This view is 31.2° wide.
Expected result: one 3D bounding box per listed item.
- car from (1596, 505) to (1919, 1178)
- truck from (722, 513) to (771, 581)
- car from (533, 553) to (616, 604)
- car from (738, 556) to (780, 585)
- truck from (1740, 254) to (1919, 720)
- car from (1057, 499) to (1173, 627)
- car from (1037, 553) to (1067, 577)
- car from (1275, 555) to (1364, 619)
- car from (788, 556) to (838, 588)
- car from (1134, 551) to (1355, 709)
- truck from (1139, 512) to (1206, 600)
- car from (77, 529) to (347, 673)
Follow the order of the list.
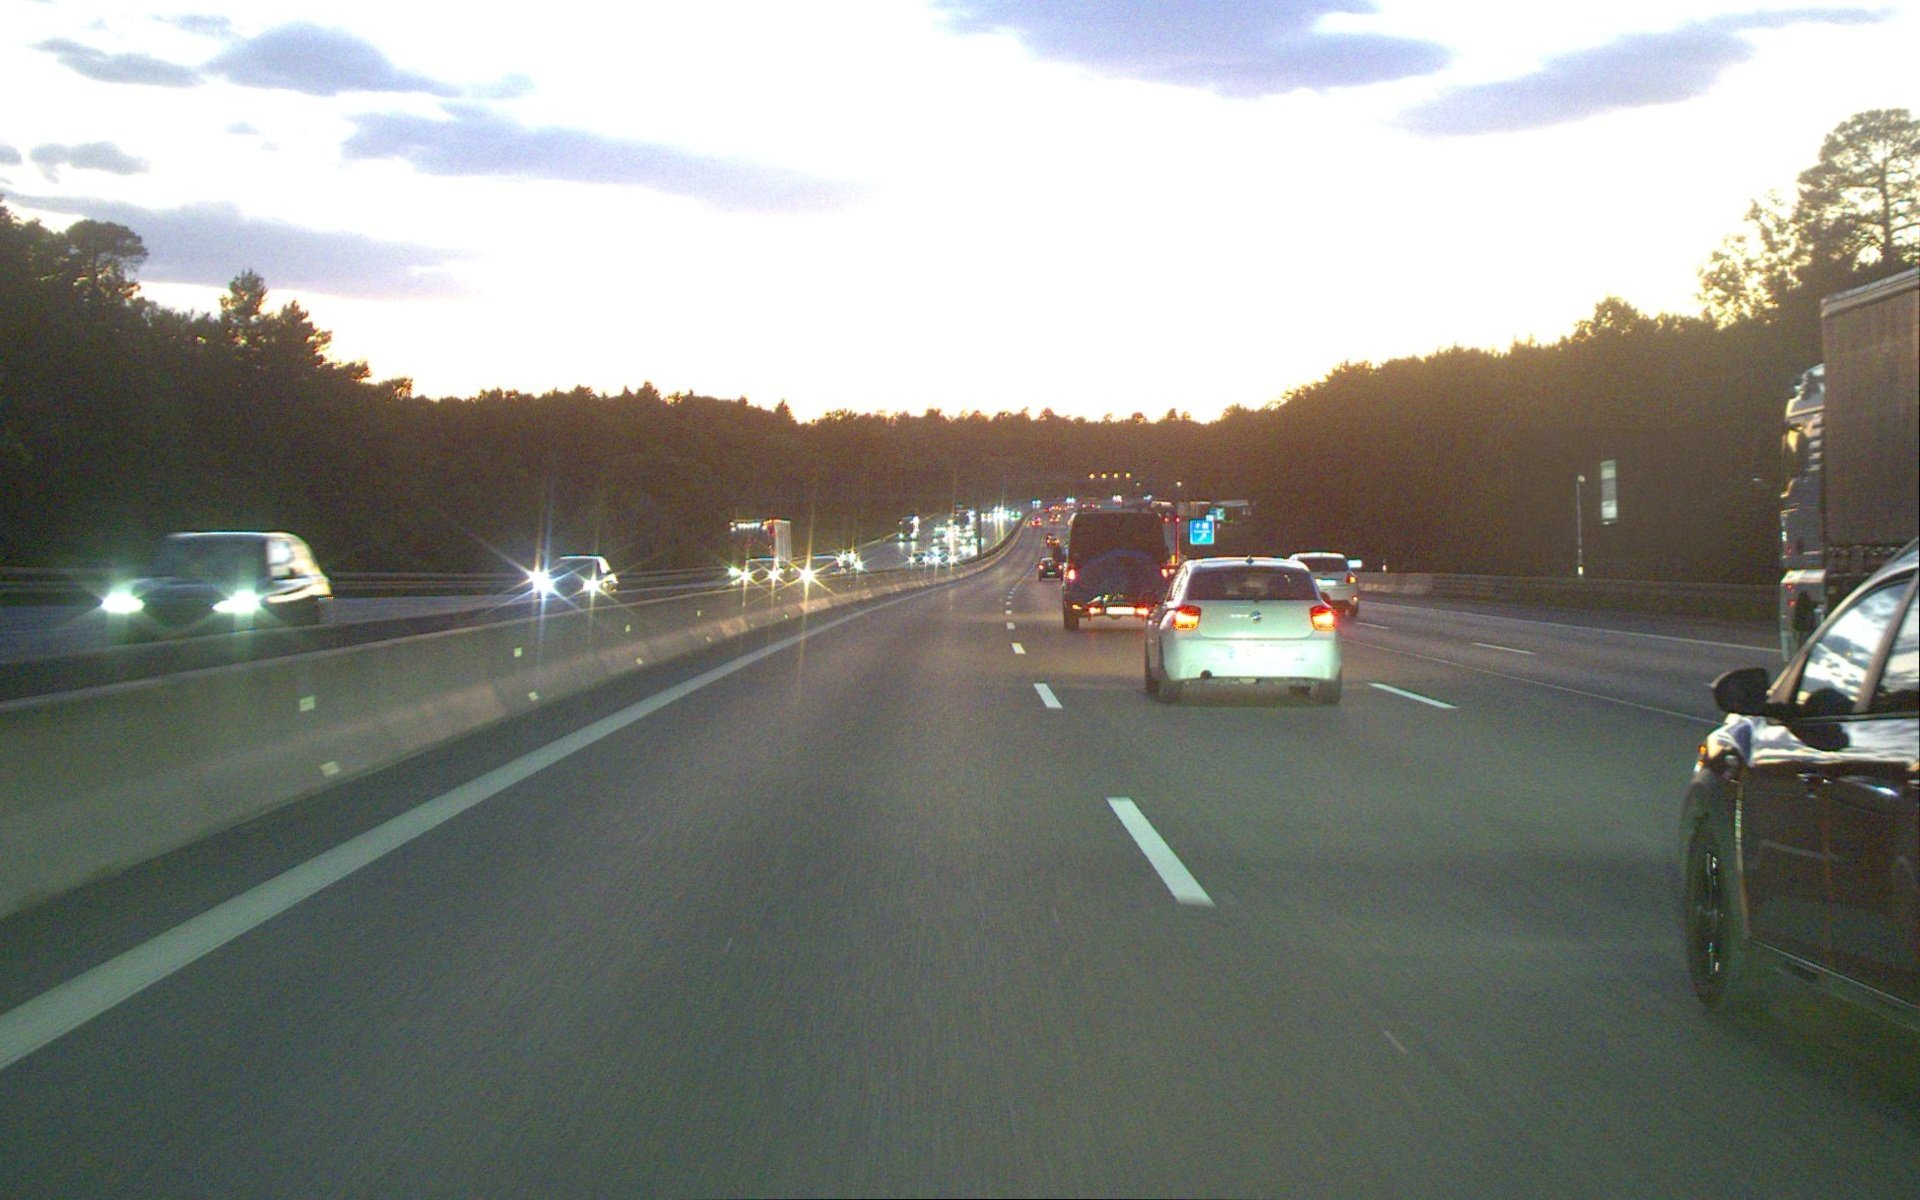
[{"bbox_3d":[3.262,0.551,9.727,1.903,1.638,5.053,0,1,-1],"label":"car"},{"bbox_3d":[-13.085,-3.234,211.054,2.649,4.117,6.525,0,1,0],"label":"truck"},{"bbox_3d":[-11.131,-0.646,99.518,1.755,1.424,5.363,1,1,1],"label":"car"},{"bbox_3d":[-9.969,-1.481,170.679,1.776,1.396,4.939,1,1,0],"label":"car"},{"bbox_3d":[9.888,-1.011,32.163,2.885,4.086,10.831,0,1,1],"label":"truck"},{"bbox_3d":[3.097,-0.730,67.751,2.166,2.410,5.563,0,1,4],"label":"car"},{"bbox_3d":[6.113,-2.286,227.279,1.837,1.565,4.000,0,1,4],"label":"car"},{"bbox_3d":[8.775,-0.333,84.177,2.008,1.533,4.000,0,1,4],"label":"car"},{"bbox_3d":[-6.552,-1.268,153.900,1.993,1.396,4.687,1,1,0],"label":"car"},{"bbox_3d":[2.789,0.258,34.408,1.859,1.437,3.721,0,2,-1],"label":"car"},{"bbox_3d":[14.337,-2.967,233.213,4.149,5.836,14.295,0,1,2],"label":"truck"},{"bbox_3d":[-9.055,-0.024,42.062,1.994,1.633,5.111,1,1,2],"label":"car"}]
